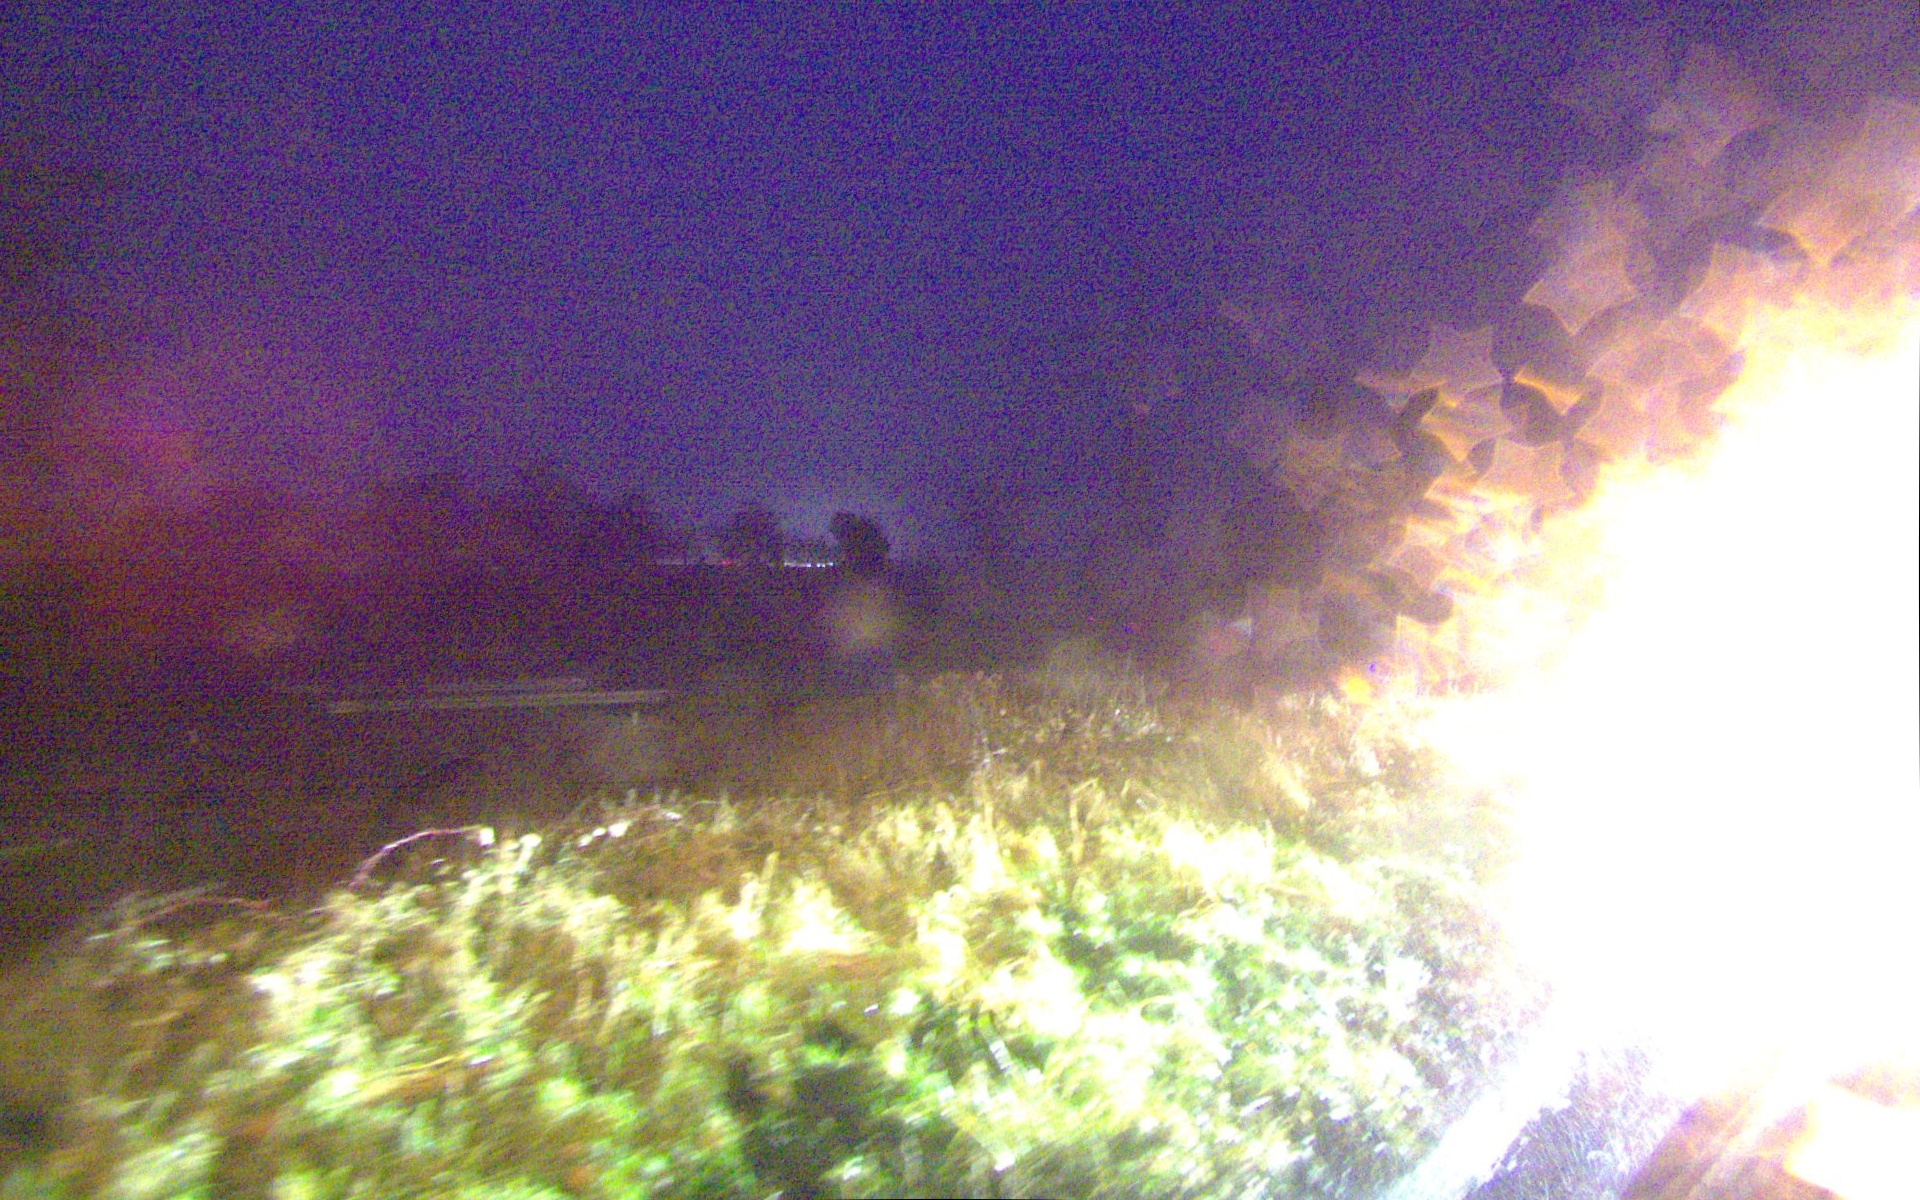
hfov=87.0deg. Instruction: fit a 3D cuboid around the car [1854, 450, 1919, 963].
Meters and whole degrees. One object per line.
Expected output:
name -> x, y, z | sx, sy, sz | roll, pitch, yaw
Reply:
car -> 5.721, 0.369, 4.803 | 1.999, 1.949, 4.300 | 1, 2, 45
